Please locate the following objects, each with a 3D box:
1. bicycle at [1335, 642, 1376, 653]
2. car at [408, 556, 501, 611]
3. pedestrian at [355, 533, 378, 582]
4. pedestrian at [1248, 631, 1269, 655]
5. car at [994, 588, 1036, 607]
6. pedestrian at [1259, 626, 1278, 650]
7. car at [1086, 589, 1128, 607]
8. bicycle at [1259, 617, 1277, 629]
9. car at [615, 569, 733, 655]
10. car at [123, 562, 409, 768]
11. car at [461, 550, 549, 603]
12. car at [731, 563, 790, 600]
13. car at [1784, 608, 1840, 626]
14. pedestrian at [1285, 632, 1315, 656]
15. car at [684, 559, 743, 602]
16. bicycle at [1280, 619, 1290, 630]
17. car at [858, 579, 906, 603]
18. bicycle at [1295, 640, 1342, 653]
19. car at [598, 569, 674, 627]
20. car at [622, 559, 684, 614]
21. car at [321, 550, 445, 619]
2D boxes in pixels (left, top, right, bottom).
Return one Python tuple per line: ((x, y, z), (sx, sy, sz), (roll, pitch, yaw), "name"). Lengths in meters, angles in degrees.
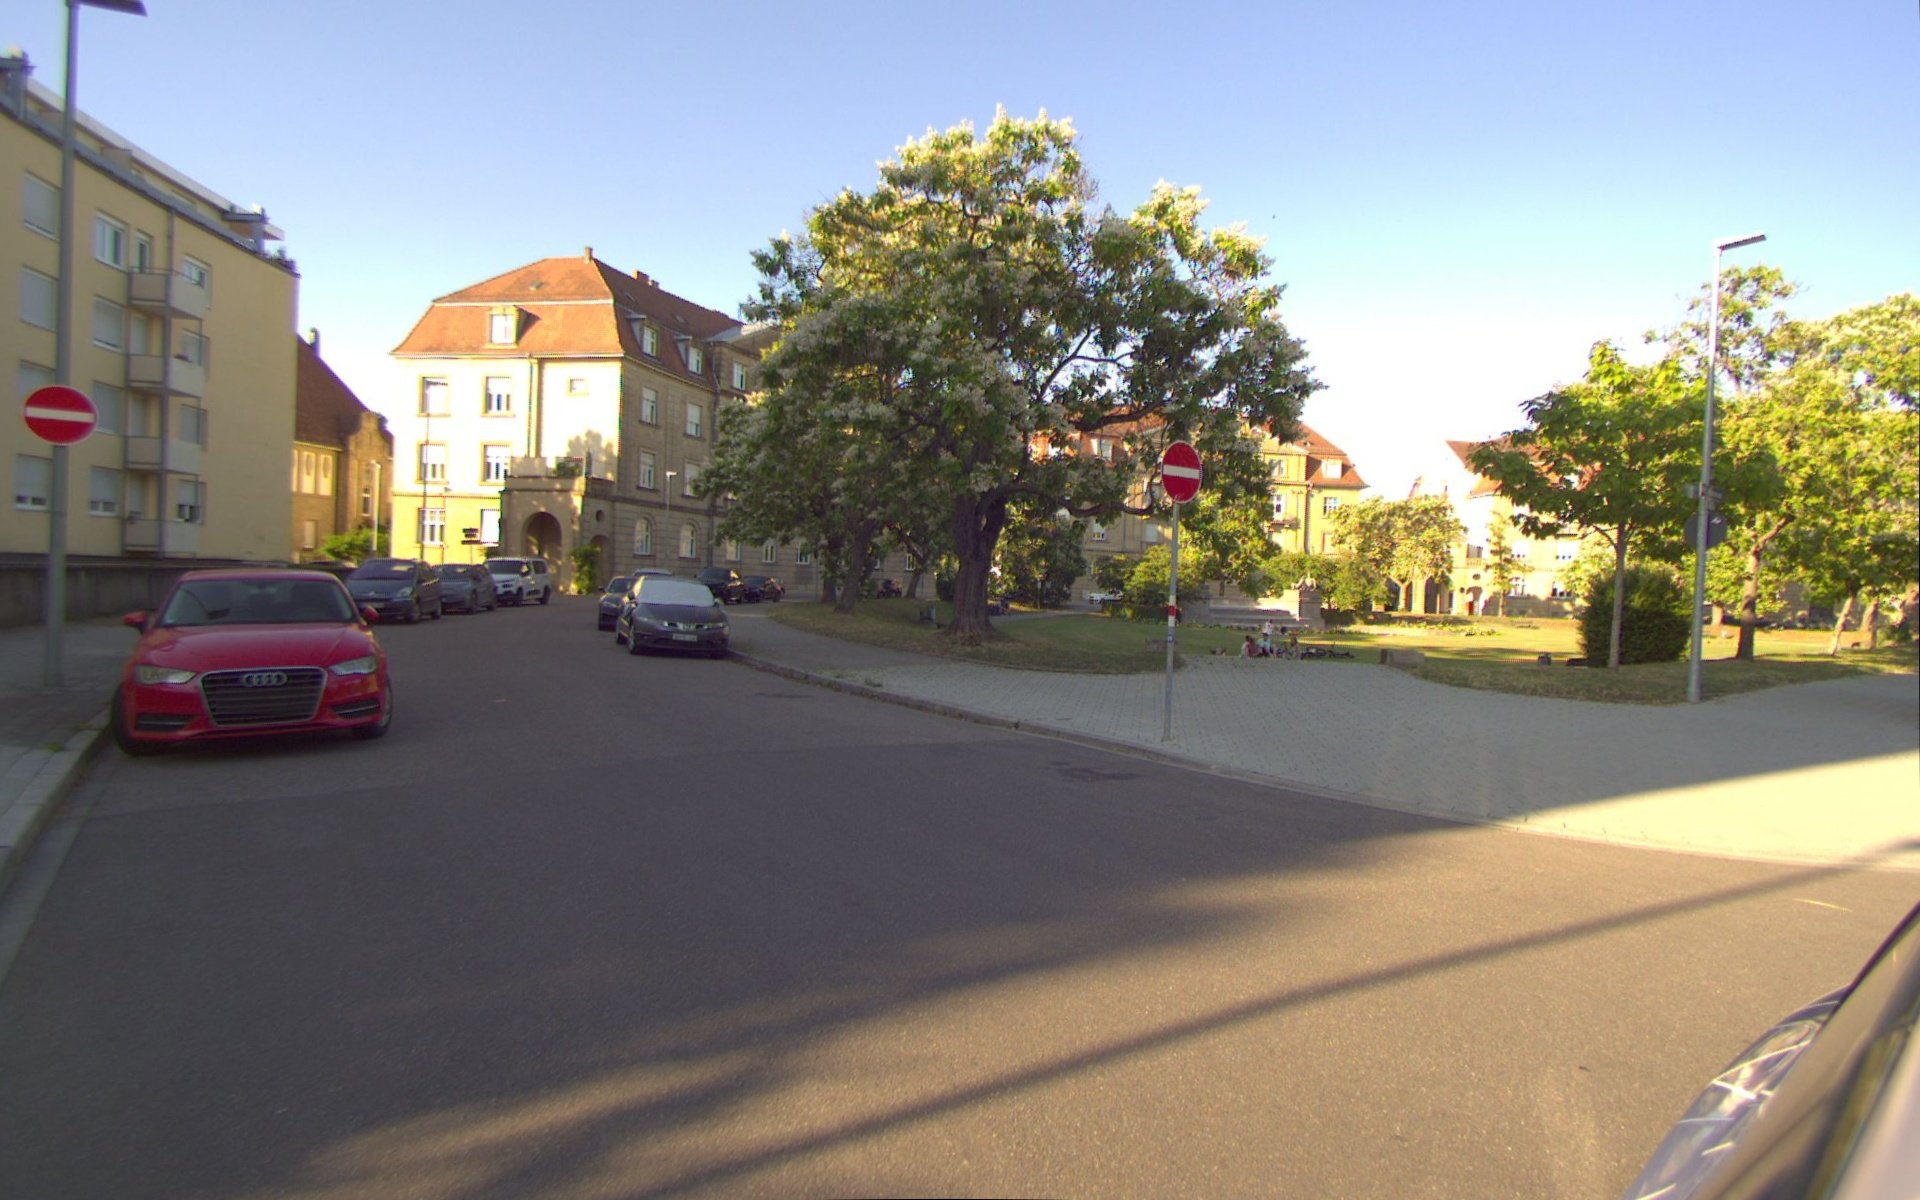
((14.621, 1.746, 37.381), (1.672, 0.323, 0.659), (1, 1, -38), "bicycle")
((-15.652, -0.544, 31.532), (1.671, 1.596, 4.056), (0, 2, -13), "car")
((-19.959, -1.421, 34.032), (0.496, 1.612, 0.527), (1, 0, -11), "pedestrian")
((10.049, 1.452, 34.100), (0.447, 0.756, 0.497), (1, 0, -44), "pedestrian")
((4.807, -0.231, 88.332), (1.767, 1.603, 3.944), (1, 0, 38), "car")
((11.065, 1.359, 36.254), (0.488, 0.845, 0.455), (1, 0, -7), "pedestrian")
((13.736, -0.167, 94.387), (3.632, 1.518, 1.727), (3, -1, -33), "car")
((16.779, 1.257, 55.164), (0.891, 0.660, 0.437), (1, 0, 12), "bicycle")
((-5.643, 0.192, 19.661), (1.690, 1.445, 4.008), (3, 0, -23), "car")
((-6.344, 0.393, 9.237), (1.756, 1.437, 4.046), (-2, 2, -37), "car")
((-16.790, -0.839, 37.545), (1.673, 1.818, 4.051), (1, 0, -5), "car")
((-10.477, -0.948, 53.362), (1.700, 1.779, 3.691), (3, 0, 12), "car")
((78.419, 1.527, 93.209), (3.677, 1.517, 1.706), (2, 0, 33), "car")
((11.419, 1.475, 34.027), (0.795, 0.774, 0.498), (3, 0, 0), "pedestrian")
((-11.390, -0.868, 46.912), (1.694, 1.779, 3.702), (3, 0, 1), "car")
((17.689, 1.318, 55.063), (0.480, 0.590, 0.437), (1, 0, 12), "bicycle")
((-5.506, -0.654, 71.873), (1.710, 1.518, 3.668), (2, 0, 28), "car")
((12.863, 1.658, 36.283), (1.896, 0.387, 0.659), (1, 1, -38), "bicycle")
((-8.398, -0.059, 26.116), (1.690, 1.313, 3.712), (3, 0, -19), "car")
((-10.237, -0.439, 33.955), (1.690, 1.648, 3.712), (3, 0, -13), "car")
((-14.338, -0.423, 25.388), (1.671, 1.596, 4.056), (0, 2, -14), "car")
